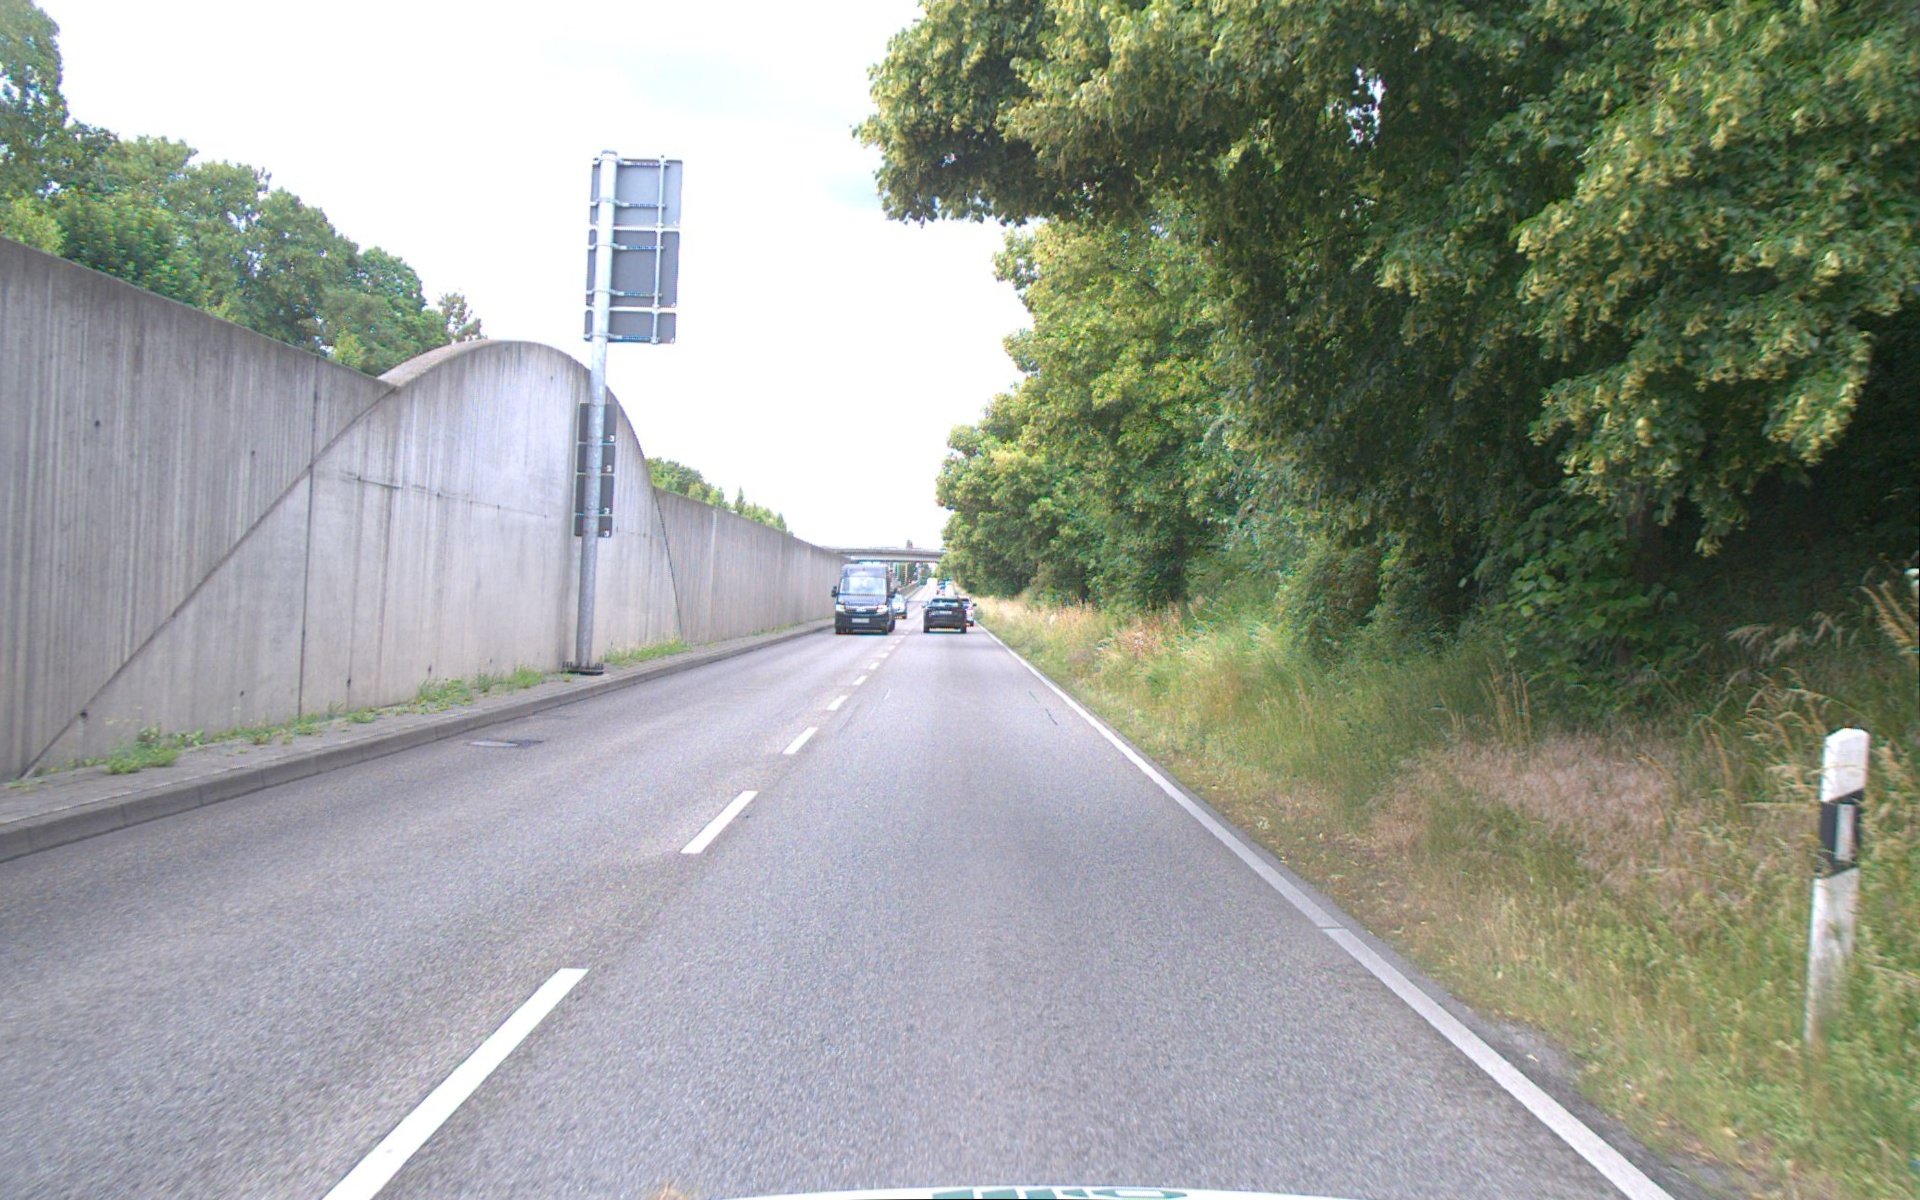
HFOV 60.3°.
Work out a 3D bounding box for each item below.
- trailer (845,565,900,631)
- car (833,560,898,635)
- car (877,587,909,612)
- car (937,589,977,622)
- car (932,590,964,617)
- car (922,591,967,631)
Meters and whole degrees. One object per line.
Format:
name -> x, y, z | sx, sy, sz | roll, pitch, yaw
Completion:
trailer -> -3.627, -0.091, 69.580 | 2.067, 2.676, 4.371 | 1, 0, 0
car -> -3.568, -0.084, 63.675 | 2.066, 2.676, 7.416 | 1, 0, 0
car -> -4.151, -0.044, 103.286 | 1.854, 1.509, 4.822 | 1, 0, 0
car -> -0.164, 0.286, 82.921 | 1.720, 1.550, 4.032 | 0, -2, -4
car -> -0.769, 0.228, 104.909 | 1.829, 1.516, 4.255 | 4, 0, -2
car -> -0.651, 0.441, 66.911 | 1.719, 1.550, 4.035 | -1, -1, -2
